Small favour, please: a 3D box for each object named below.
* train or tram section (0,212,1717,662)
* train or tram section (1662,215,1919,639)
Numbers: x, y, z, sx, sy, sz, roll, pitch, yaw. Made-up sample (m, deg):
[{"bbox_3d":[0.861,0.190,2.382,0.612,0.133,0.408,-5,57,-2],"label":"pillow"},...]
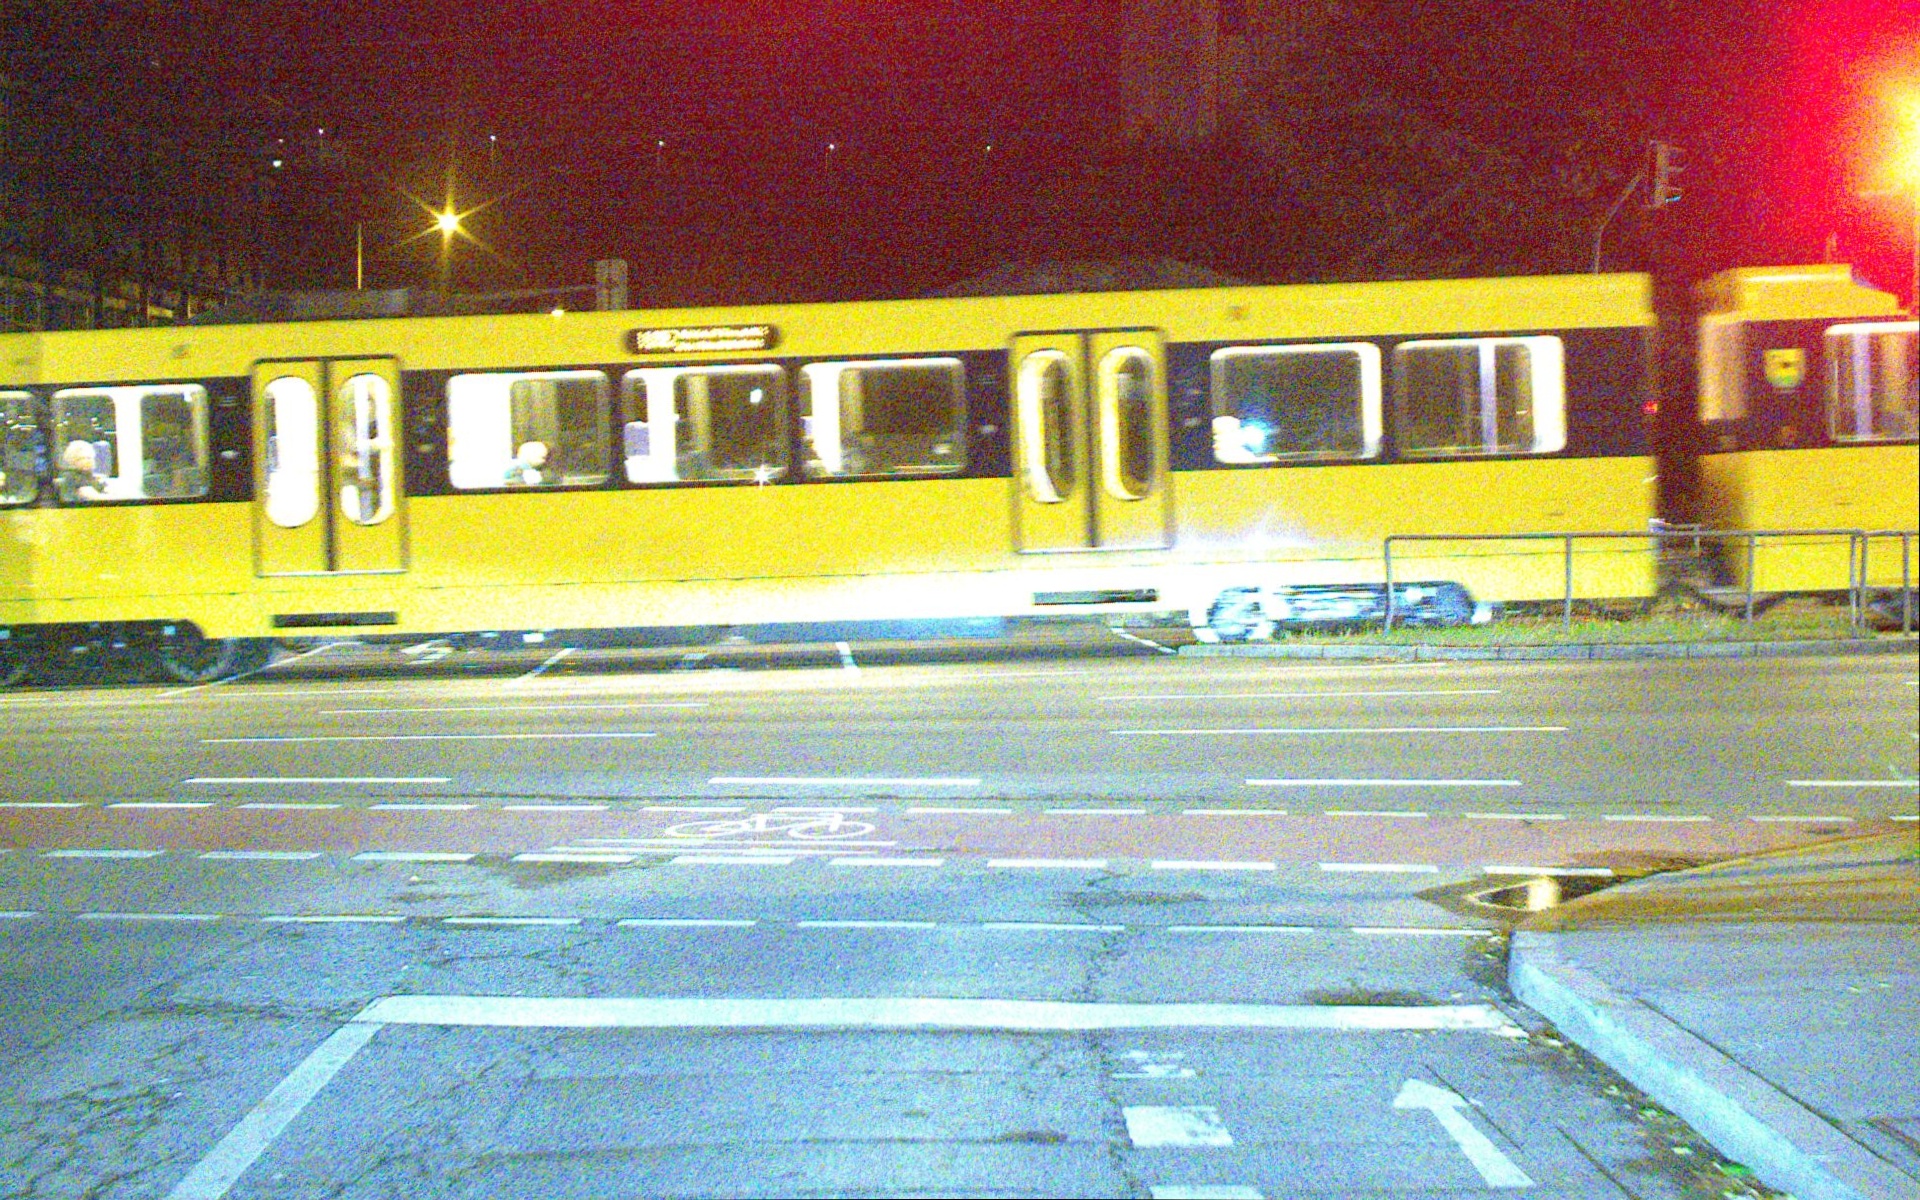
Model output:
[{"bbox_3d":[-2.859,-1.479,33.674,19.796,3.848,2.940,-1,1,5],"label":"train or tram section"},{"bbox_3d":[16.468,-1.767,32.047,19.177,3.810,2.923,-1,1,5],"label":"train or tram section"}]
